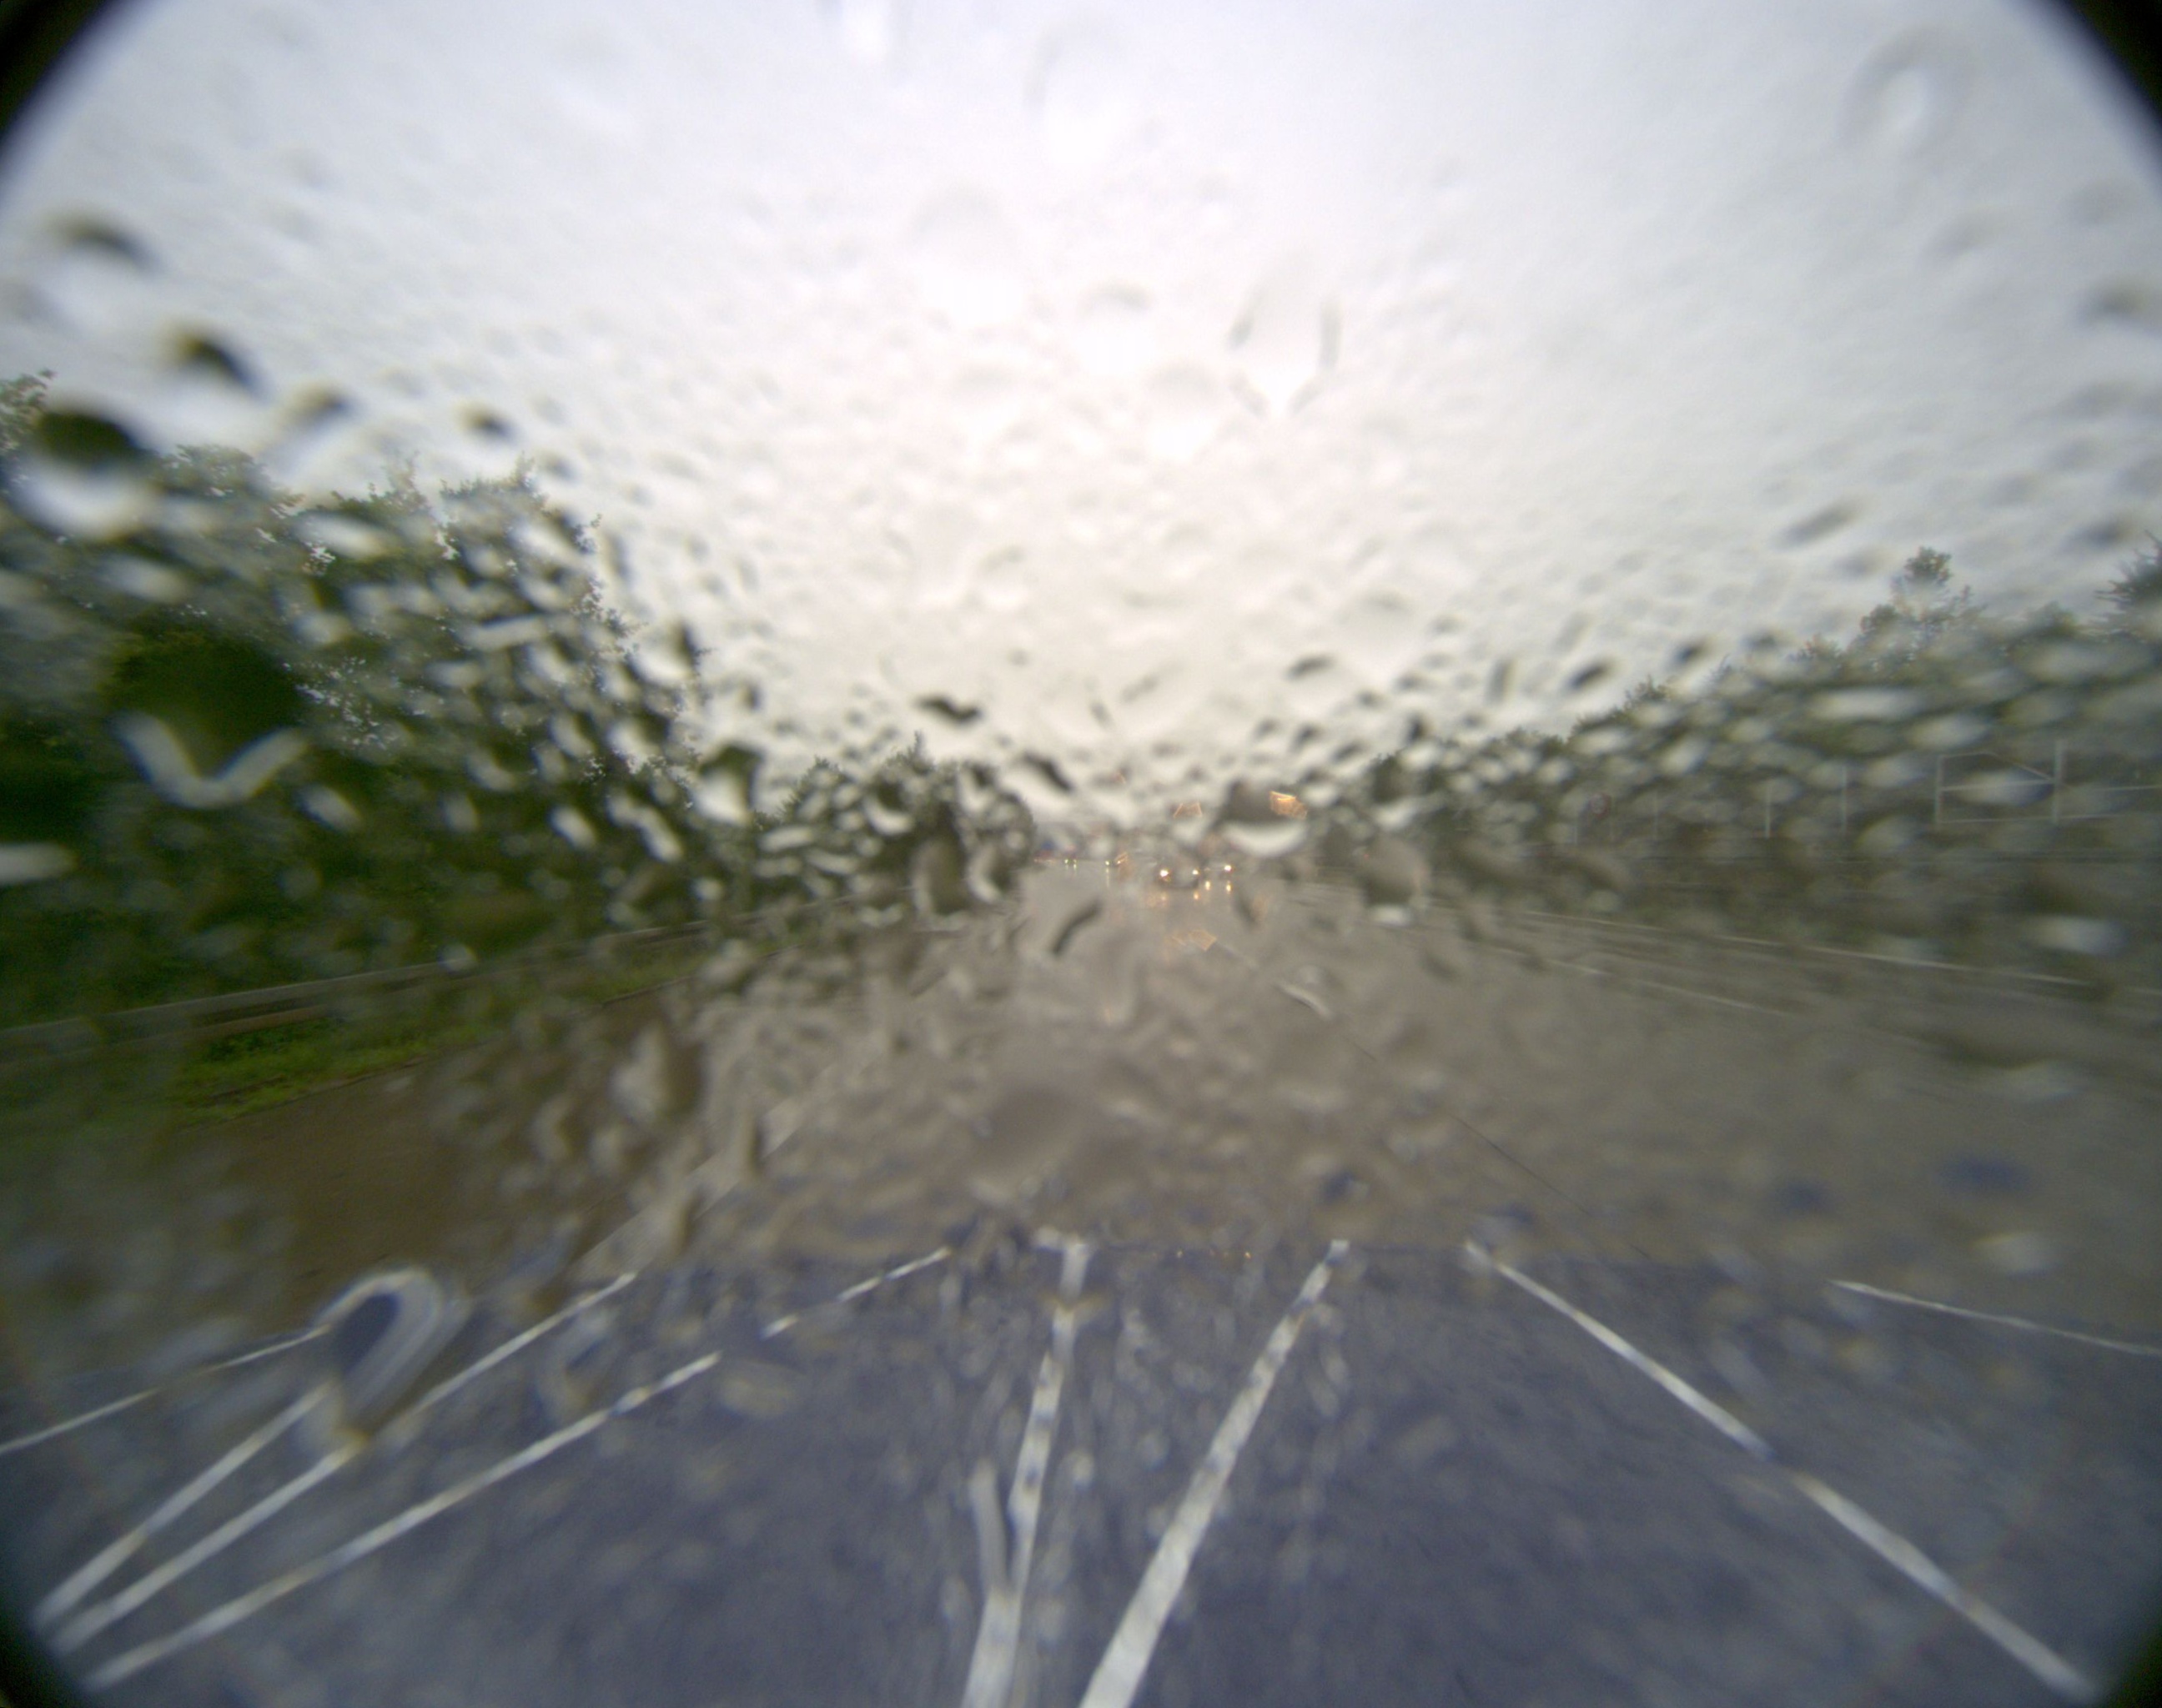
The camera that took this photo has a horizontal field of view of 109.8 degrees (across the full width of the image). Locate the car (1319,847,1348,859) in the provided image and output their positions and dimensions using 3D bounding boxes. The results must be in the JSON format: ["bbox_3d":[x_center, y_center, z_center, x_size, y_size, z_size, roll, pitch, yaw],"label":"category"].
[{"bbox_3d":[28.607,-0.114,86.105,1.757,1.296,4.344,-3,0,0],"label":"car"}]

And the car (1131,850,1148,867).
[{"bbox_3d":[8.868,0.673,115.426,2.045,2.616,6.404,0,0,0],"label":"car"}]

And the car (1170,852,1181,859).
[{"bbox_3d":[19.762,0.236,158.445,1.757,1.331,4.425,-3,0,0],"label":"car"}]

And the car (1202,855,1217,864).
[{"bbox_3d":[21.805,0.965,129.532,1.757,1.331,4.425,-3,0,0],"label":"car"}]

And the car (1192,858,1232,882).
[{"bbox_3d":[8.186,0.986,47.702,1.671,1.426,4.350,-1,0,-1],"label":"car"}]

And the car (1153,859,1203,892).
[{"bbox_3d":[4.622,0.983,36.626,1.934,1.426,4.518,0,0,1],"label":"car"}]

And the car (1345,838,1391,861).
[{"bbox_3d":[21.768,-0.329,57.716,1.998,1.674,4.000,-1,0,1],"label":"car"}]

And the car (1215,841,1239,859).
[{"bbox_3d":[21.892,-0.621,114.414,2.188,2.552,7.446,-3,0,1],"label":"car"}]

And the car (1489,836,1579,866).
[{"bbox_3d":[21.824,-0.140,36.817,1.757,1.296,4.344,-3,0,0],"label":"car"}]

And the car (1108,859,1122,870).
[{"bbox_3d":[4.611,1.401,103.604,1.934,1.426,4.518,0,0,1],"label":"car"}]

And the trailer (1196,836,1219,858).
[{"bbox_3d":[24.380,-1.305,146.639,2.855,4.130,8.525,-3,0,0],"label":"trailer"}]

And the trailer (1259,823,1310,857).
[{"bbox_3d":[25.408,-1.650,95.674,2.774,3.779,13.779,-3,0,1],"label":"trailer"}]

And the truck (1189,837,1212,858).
[{"bbox_3d":[24.445,-1.260,155.999,2.855,4.130,10.178,-3,0,0],"label":"truck"}]

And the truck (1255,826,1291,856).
[{"bbox_3d":[25.544,-1.668,101.384,2.781,3.779,7.681,-3,0,1],"label":"truck"}]

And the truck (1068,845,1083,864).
[{"bbox_3d":[-1.261,0.203,173.308,3.058,3.994,10.046,0,-2,2],"label":"truck"}]

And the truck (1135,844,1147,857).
[{"bbox_3d":[18.819,-1.003,238.862,2.591,3.679,9.799,-3,0,-1],"label":"truck"}]

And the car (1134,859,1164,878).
[{"bbox_3d":[5.340,1.104,60.155,1.934,1.426,4.518,0,0,0],"label":"car"}]
